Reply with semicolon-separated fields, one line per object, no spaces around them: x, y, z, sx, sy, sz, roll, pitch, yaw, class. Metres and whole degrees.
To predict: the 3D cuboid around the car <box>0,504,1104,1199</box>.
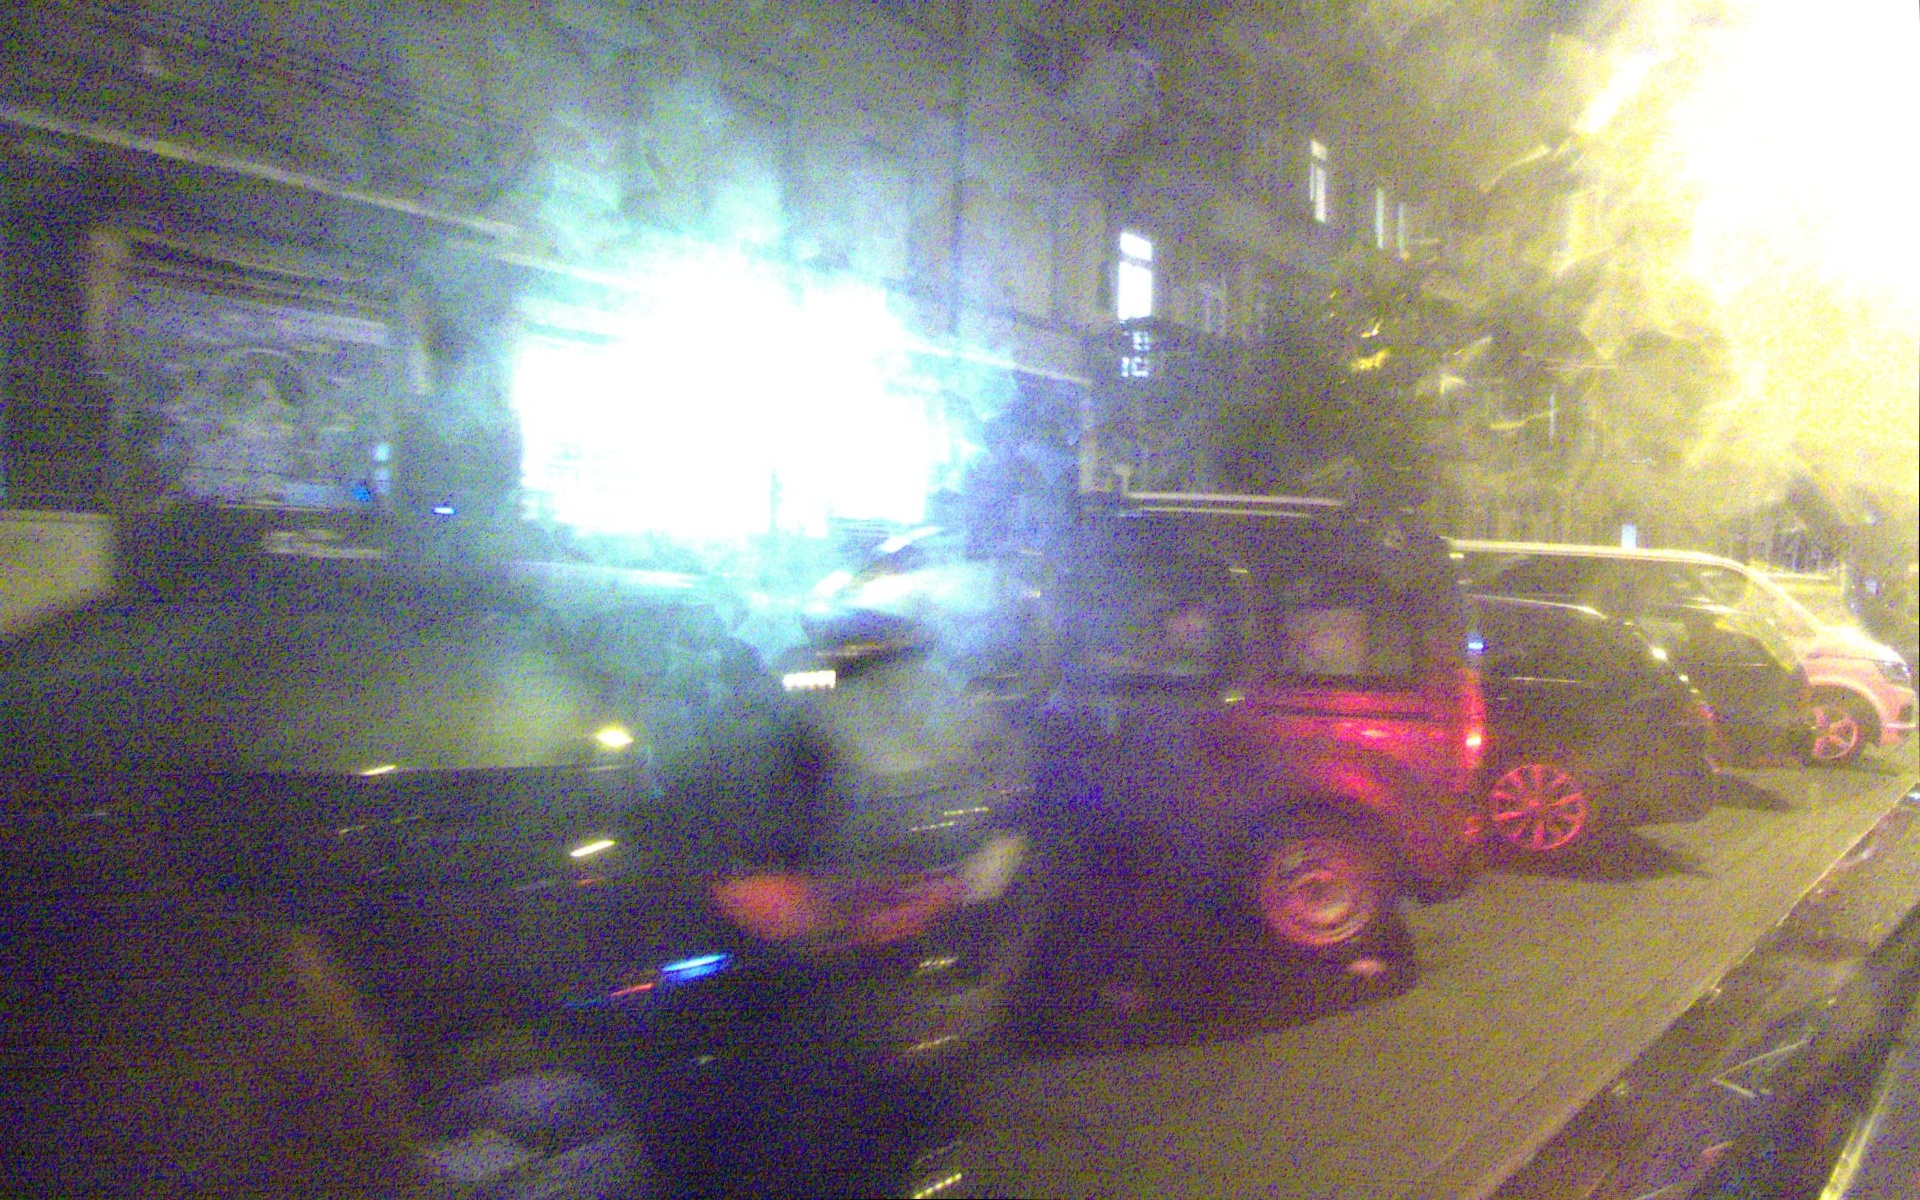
-1.708;0.532;2.823;3.999;1.471;1.671;2;1;15;car

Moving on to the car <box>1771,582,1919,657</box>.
21.839;0.472;23.822;3.896;1.581;1.695;4;3;27;car

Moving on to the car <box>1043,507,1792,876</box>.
2.614;0.418;6.619;3.875;1.814;1.737;3;2;13;car

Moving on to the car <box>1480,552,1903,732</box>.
8.663;0.391;12.477;3.898;1.763;1.694;4;3;28;car

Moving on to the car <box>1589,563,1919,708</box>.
11.078;0.414;13.912;3.898;1.639;1.694;4;3;28;car

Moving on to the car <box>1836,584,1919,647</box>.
26.280;0.481;27.064;3.896;1.581;1.695;4;3;27;car

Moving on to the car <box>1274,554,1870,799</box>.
4.750;0.492;8.545;3.880;1.568;1.735;3;2;16;car

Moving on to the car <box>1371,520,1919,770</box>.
6.779;0.314;10.266;4.655;2.004;1.966;4;3;21;car

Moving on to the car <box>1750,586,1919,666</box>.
19.489;0.555;21.516;3.896;1.481;1.695;4;3;27;car

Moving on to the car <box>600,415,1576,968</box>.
0.474;0.233;4.969;3.875;1.966;1.737;3;2;13;car
